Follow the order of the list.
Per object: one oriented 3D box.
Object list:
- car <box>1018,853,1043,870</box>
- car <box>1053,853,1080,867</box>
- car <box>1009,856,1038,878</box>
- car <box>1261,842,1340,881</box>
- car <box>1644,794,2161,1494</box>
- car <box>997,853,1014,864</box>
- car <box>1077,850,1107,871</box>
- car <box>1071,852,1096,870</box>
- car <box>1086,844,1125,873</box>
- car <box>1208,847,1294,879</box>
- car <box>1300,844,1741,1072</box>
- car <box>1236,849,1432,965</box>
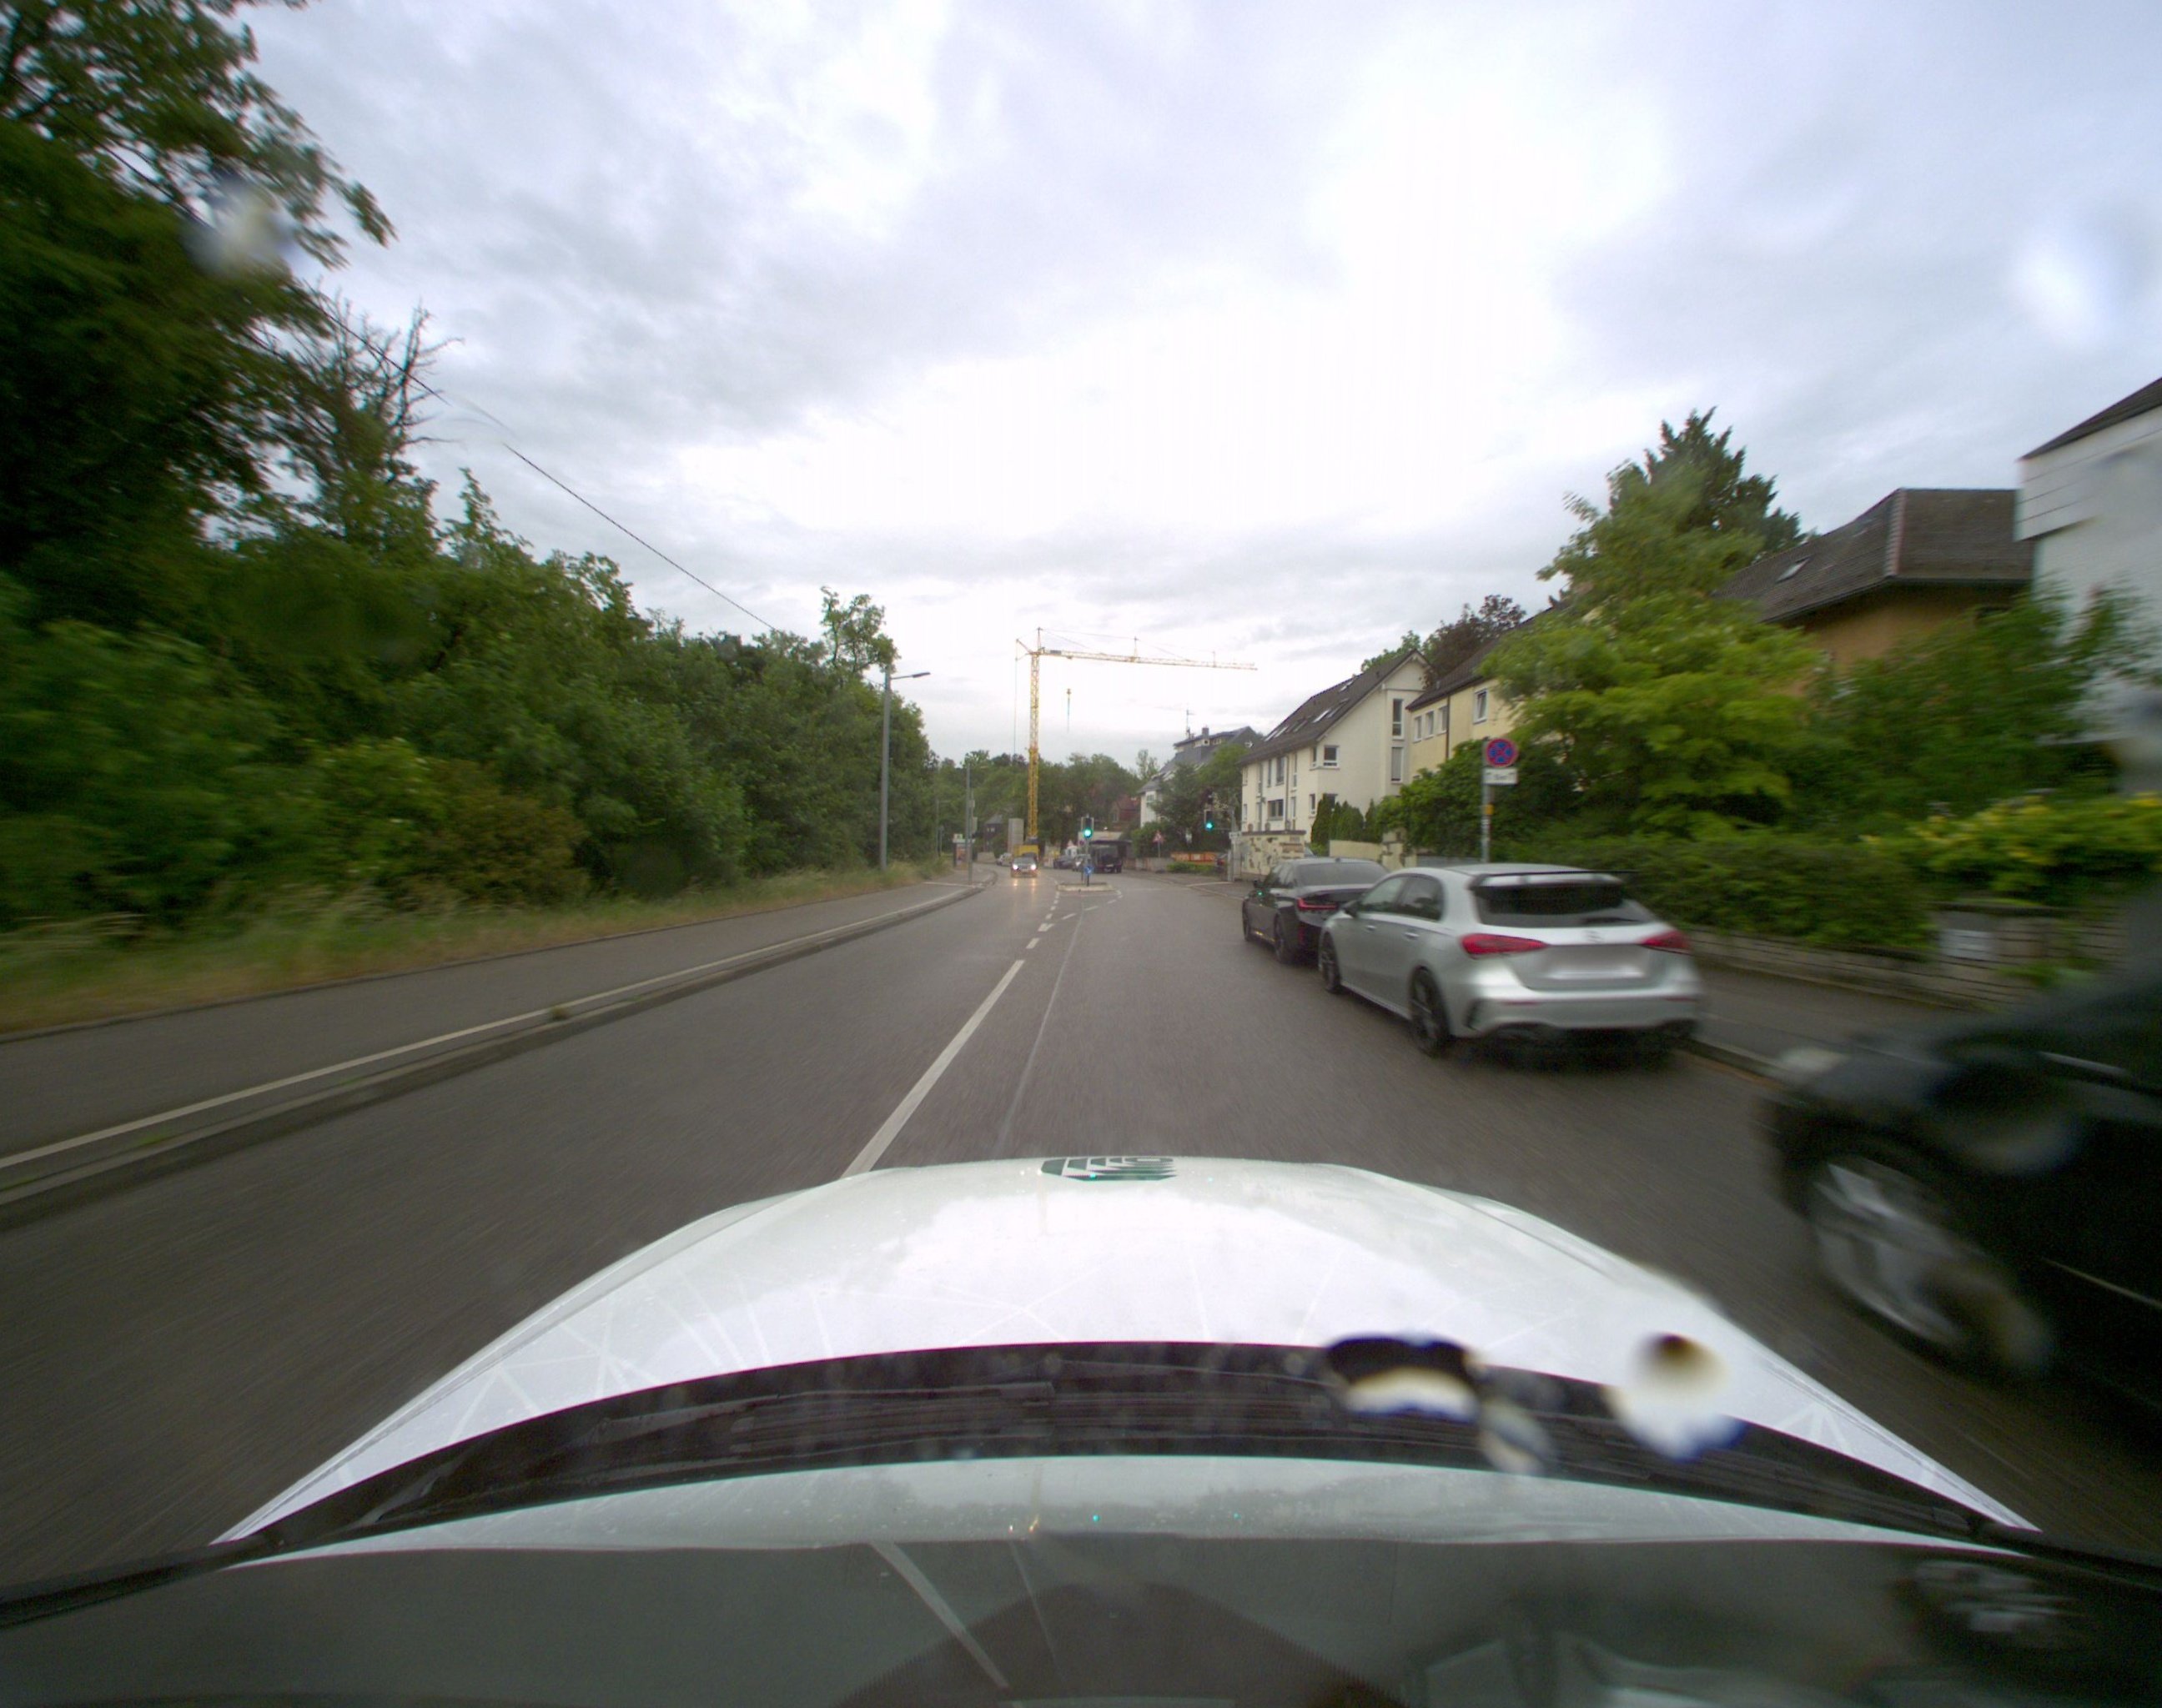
[{"bbox_3d":[-5.399,0.777,86.474,1.935,1.751,3.980,0,0,-15],"label":"car"},{"bbox_3d":[-1.571,0.599,85.848,1.934,1.422,4.815,0,0,-14],"label":"car"},{"bbox_3d":[-3.852,0.871,55.465,1.738,1.460,4.411,0,0,-1],"label":"car"},{"bbox_3d":[9.886,0.334,37.023,1.930,1.596,4.331,3,-1,-7],"label":"car"},{"bbox_3d":[3.251,0.641,1.296,1.723,1.568,4.524,-1,0,2],"label":"car"},{"bbox_3d":[-11.829,0.707,127.307,1.748,1.706,4.479,-2,0,-15],"label":"car"},{"bbox_3d":[0.900,0.533,67.488,1.930,1.596,4.384,-3,0,-6],"label":"car"},{"bbox_3d":[0.174,0.609,71.844,1.673,1.457,3.375,-1,0,-9],"label":"car"},{"bbox_3d":[1.847,0.345,62.520,1.993,2.013,4.940,-2,0,-10],"label":"car"},{"bbox_3d":[9.657,0.506,46.408,4.323,1.596,1.987,3,-1,-7],"label":"car"},{"bbox_3d":[3.476,0.718,7.587,1.786,1.487,4.497,0,-1,2],"label":"car"},{"bbox_3d":[3.598,0.690,12.491,1.745,1.443,4.603,0,-1,2],"label":"car"}]
